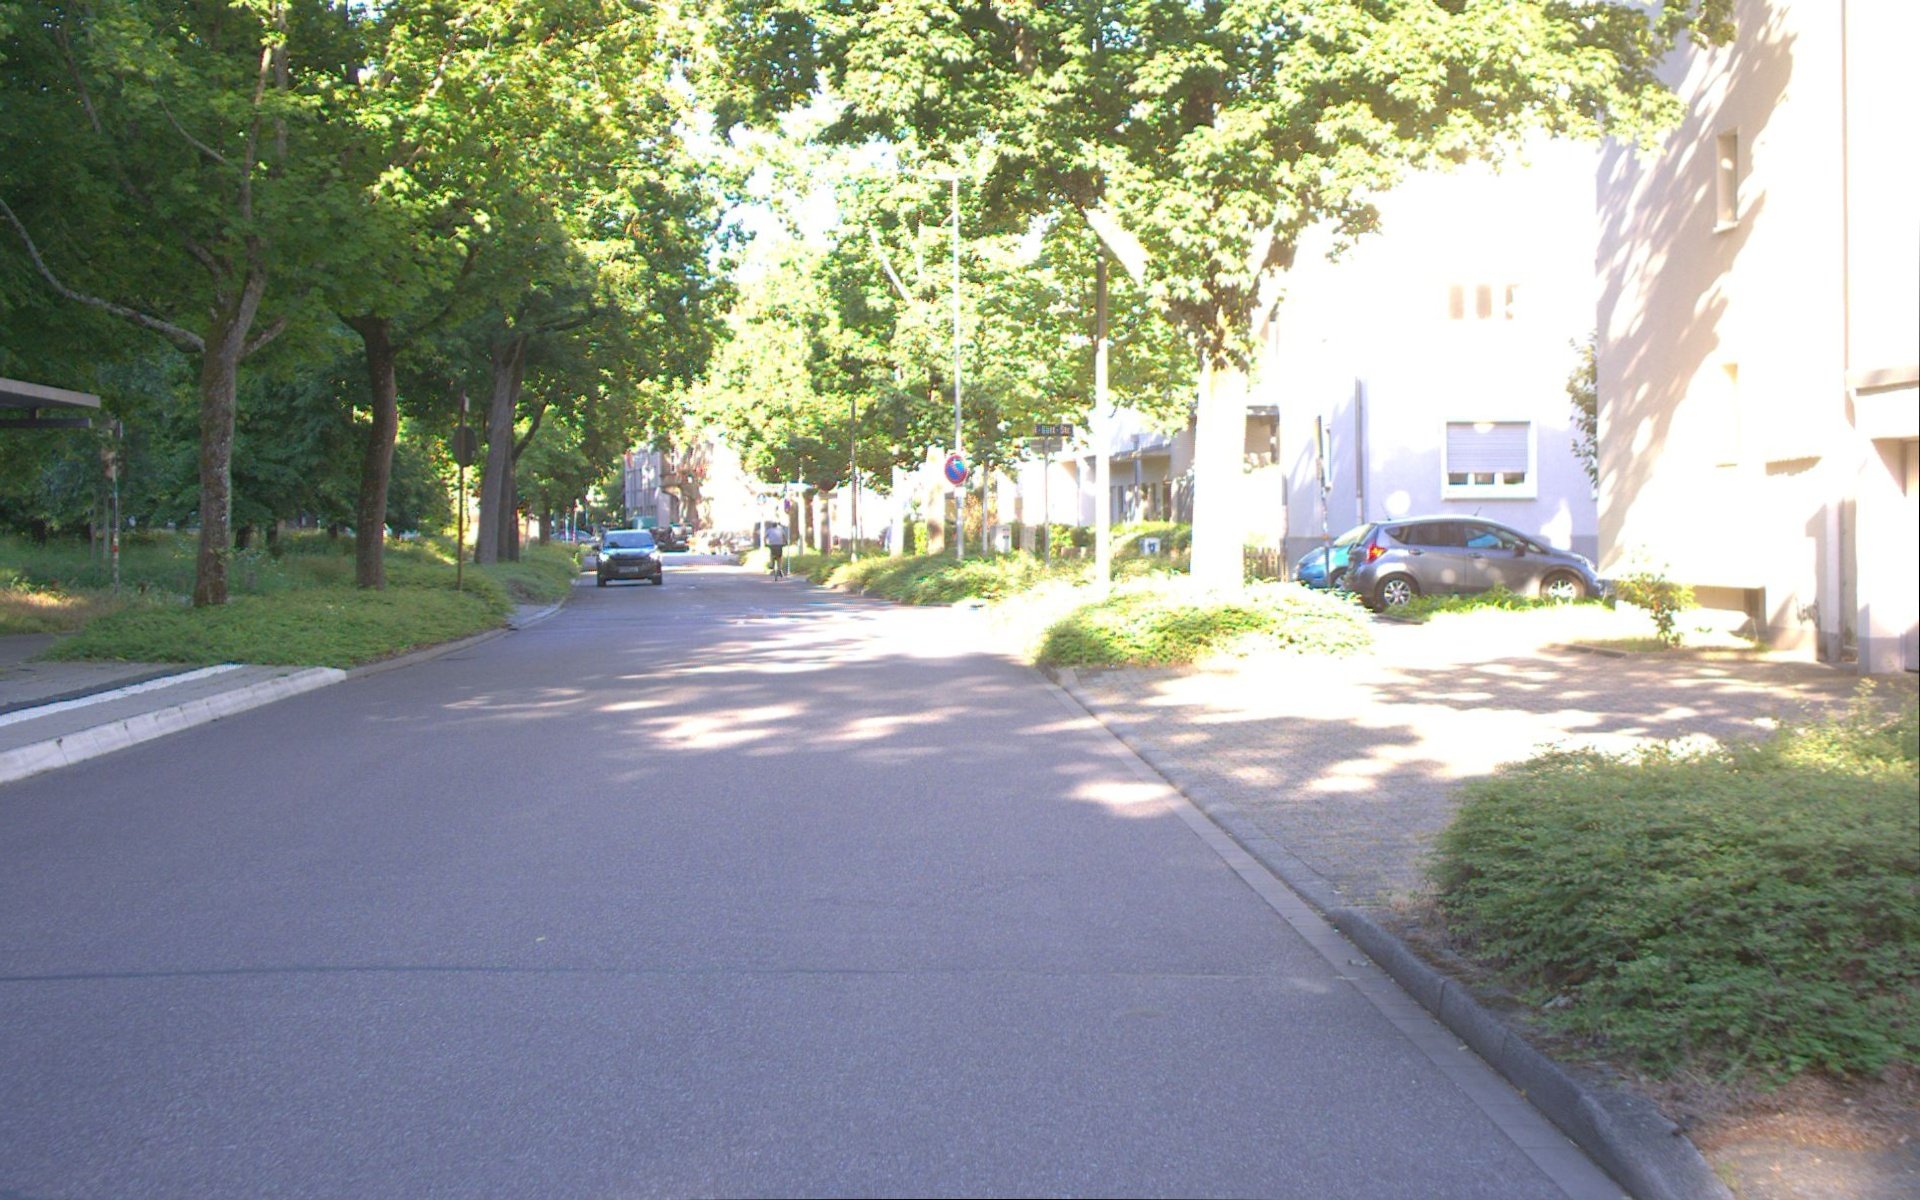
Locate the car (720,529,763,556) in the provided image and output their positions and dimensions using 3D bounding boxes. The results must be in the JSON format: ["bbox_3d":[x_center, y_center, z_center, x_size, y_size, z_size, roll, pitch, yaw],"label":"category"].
[{"bbox_3d":[-12.430,-3.276,195.129,1.811,1.496,4.001,-1,1,-13],"label":"car"}]

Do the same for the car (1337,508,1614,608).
[{"bbox_3d":[8.139,-0.653,54.469,4.040,1.509,1.727,1,0,-5],"label":"car"}]

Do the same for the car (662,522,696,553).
[{"bbox_3d":[-18.261,-4.074,223.386,1.811,1.919,4.001,1,1,-9],"label":"car"}]

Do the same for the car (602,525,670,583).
[{"bbox_3d":[-9.227,-1.326,98.169,1.844,1.573,4.337,-2,1,-5],"label":"car"}]

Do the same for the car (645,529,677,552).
[{"bbox_3d":[-20.142,-4.024,231.372,1.811,1.496,4.001,1,1,-9],"label":"car"}]

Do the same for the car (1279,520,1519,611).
[{"bbox_3d":[7.918,-0.636,62.221,3.986,1.576,1.810,0,2,-6],"label":"car"}]
